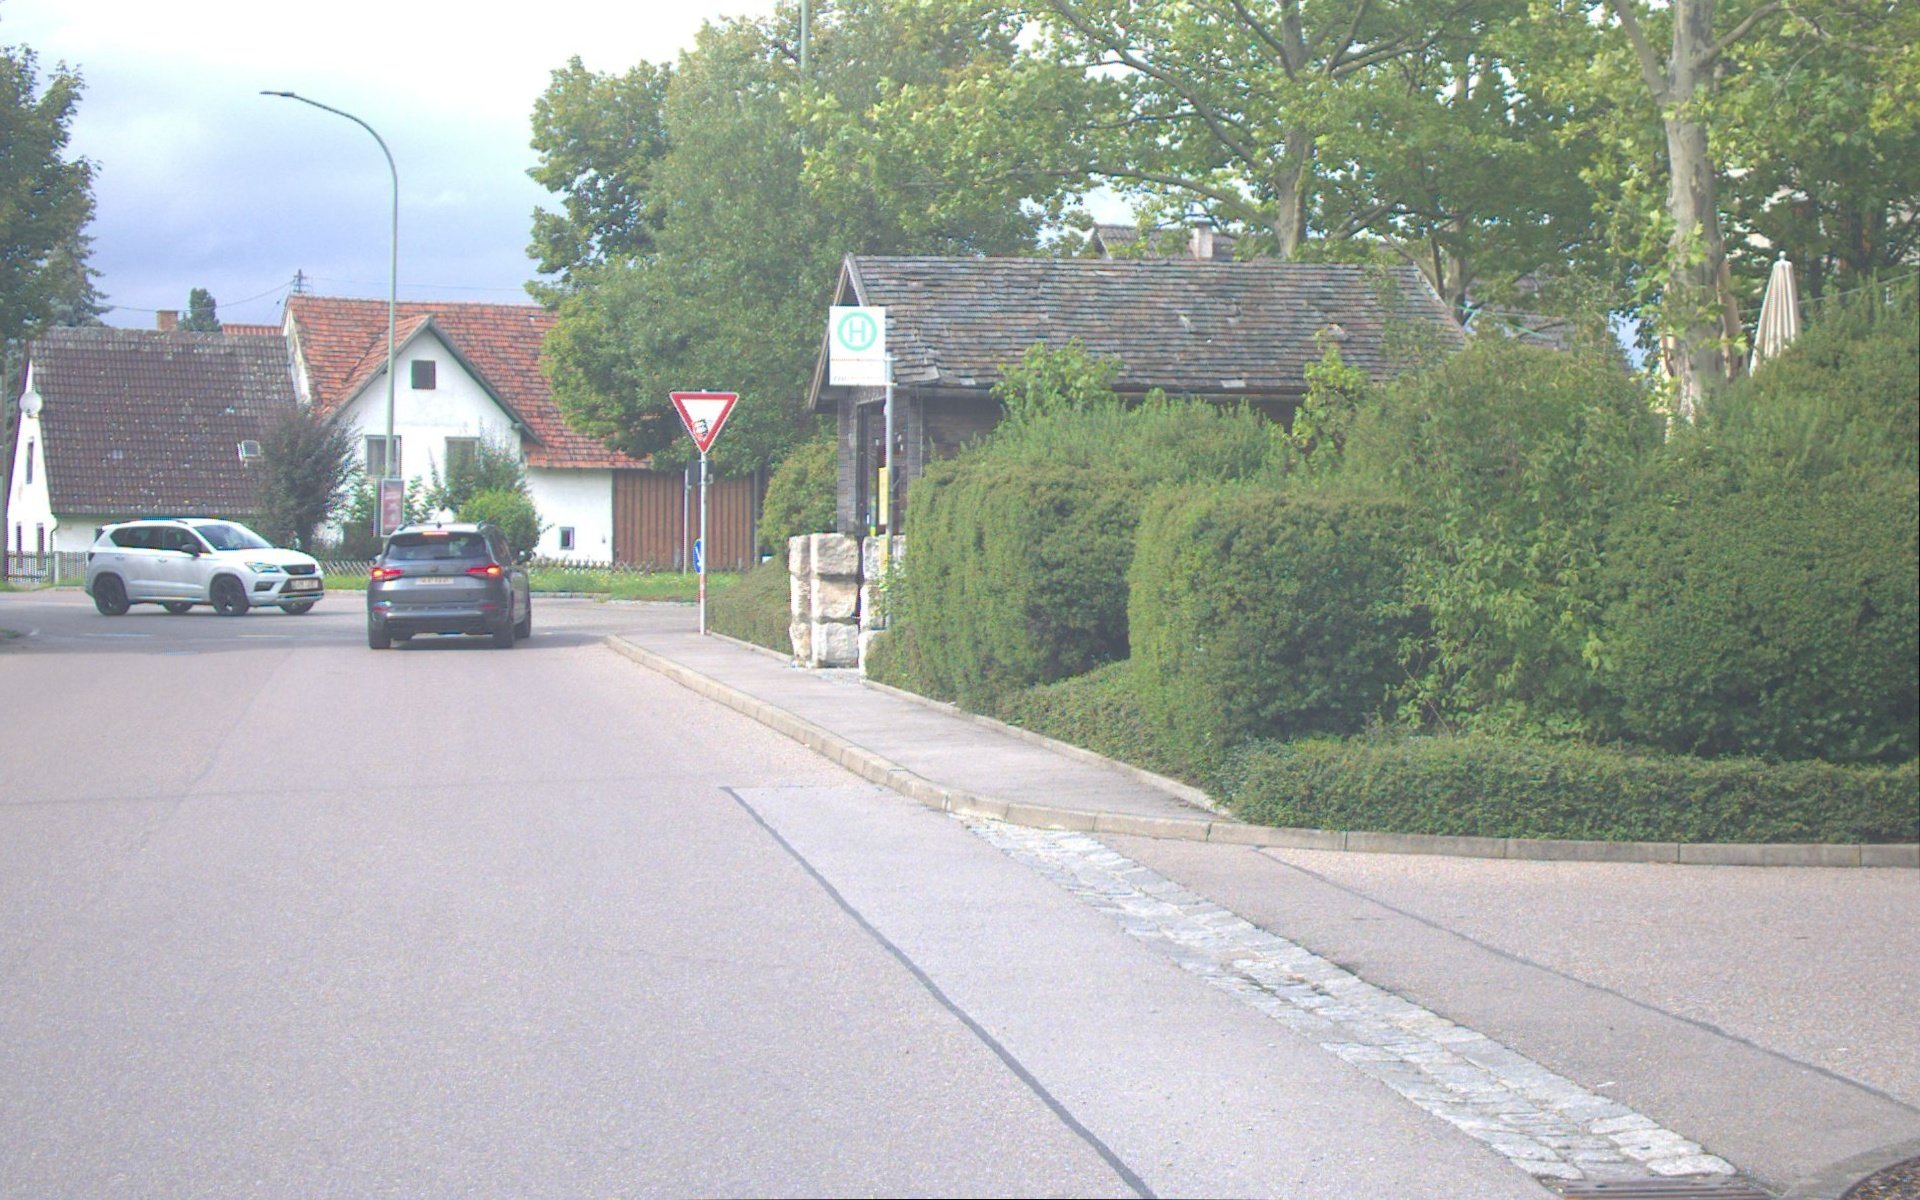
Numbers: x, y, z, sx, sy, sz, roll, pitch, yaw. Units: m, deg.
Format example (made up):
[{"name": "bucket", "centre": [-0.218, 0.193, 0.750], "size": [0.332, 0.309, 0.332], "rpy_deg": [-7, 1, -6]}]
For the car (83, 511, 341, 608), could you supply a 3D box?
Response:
[{"name": "car", "centre": [-12.401, -0.691, 56.957], "size": [3.984, 1.510, 1.801], "rpy_deg": [2, 2, 30]}]

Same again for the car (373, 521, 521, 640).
[{"name": "car", "centre": [-6.566, -0.281, 44.086], "size": [1.798, 1.457, 3.663], "rpy_deg": [0, 1, -8]}]
